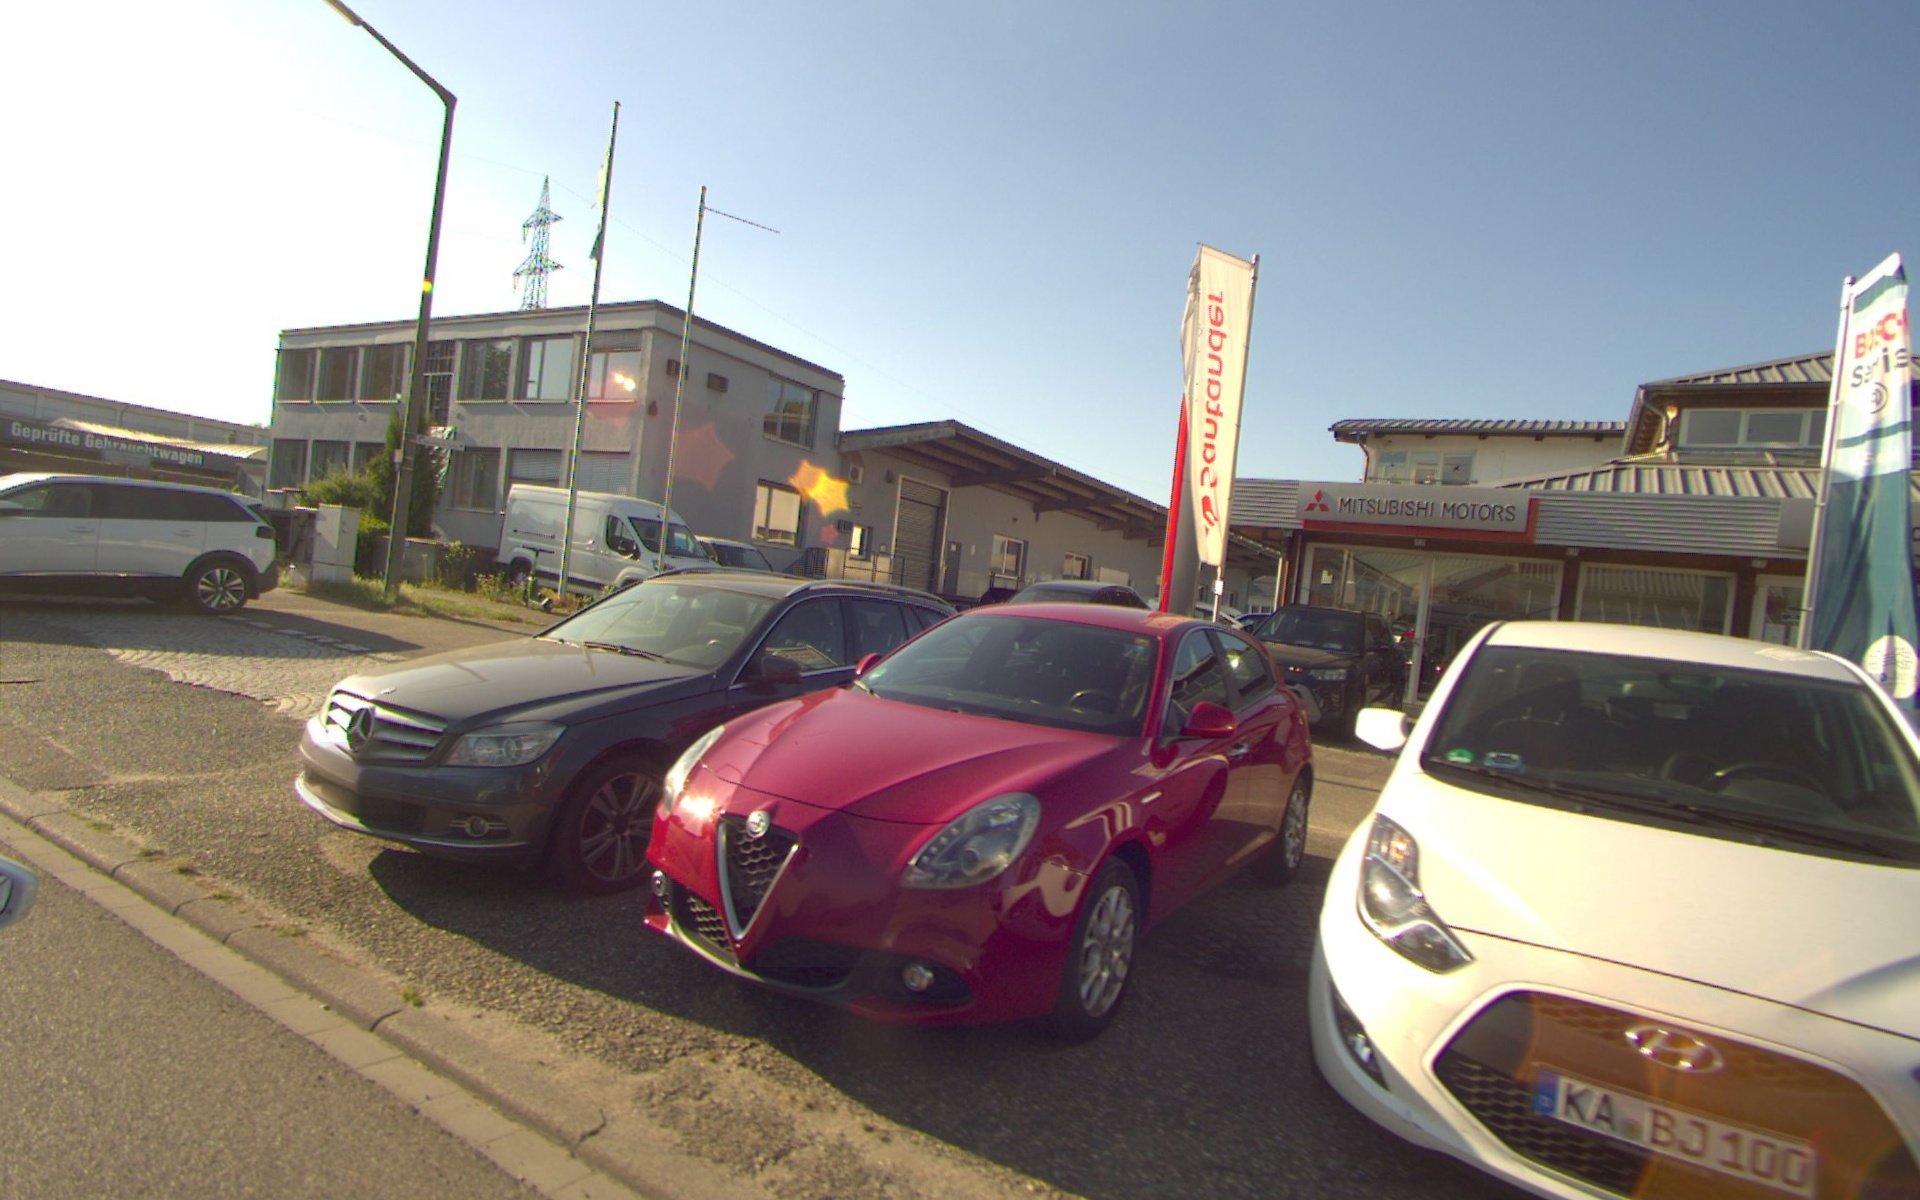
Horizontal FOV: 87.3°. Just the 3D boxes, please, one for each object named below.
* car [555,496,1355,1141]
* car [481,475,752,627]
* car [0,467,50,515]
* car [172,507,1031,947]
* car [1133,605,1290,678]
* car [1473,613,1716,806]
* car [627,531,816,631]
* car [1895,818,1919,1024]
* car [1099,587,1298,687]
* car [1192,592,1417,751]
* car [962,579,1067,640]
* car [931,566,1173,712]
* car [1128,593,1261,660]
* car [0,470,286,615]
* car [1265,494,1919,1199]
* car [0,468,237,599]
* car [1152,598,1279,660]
[{"bbox_3d":[0.497,0.698,4.881,1.717,1.624,4.247,7,-1,33],"label":"car"},{"bbox_3d":[-7.626,-1.129,22.045,6.035,2.657,1.996,7,0,32],"label":"car"},{"bbox_3d":[-42.575,-4.897,44.339,1.908,1.791,3.990,5,-1,-15],"label":"car"},{"bbox_3d":[-1.570,0.465,5.998,2.099,1.455,4.438,7,2,31],"label":"car"},{"bbox_3d":[6.878,1.130,27.855,3.803,1.485,2.001,7,-1,5],"label":"car"},{"bbox_3d":[7.559,1.148,12.142,1.967,1.719,3.987,7,2,32],"label":"car"},{"bbox_3d":[-5.650,-0.456,23.723,3.934,1.821,1.996,7,-1,32],"label":"car"},{"bbox_3d":[4.496,1.130,2.485,2.023,1.639,4.115,7,1,28],"label":"car"},{"bbox_3d":[5.068,0.794,21.851,3.803,1.601,2.001,7,0,5],"label":"car"},{"bbox_3d":[4.891,0.885,13.902,1.967,1.682,3.987,7,2,32],"label":"car"},{"bbox_3d":[2.003,0.370,35.899,1.967,1.704,3.993,7,-1,31],"label":"car"},{"bbox_3d":[1.571,0.560,15.620,1.967,1.795,4.144,7,2,32],"label":"car"},{"bbox_3d":[11.465,1.258,49.343,5.757,2.553,1.996,7,0,32],"label":"car"},{"bbox_3d":[-11.289,-0.737,12.301,2.164,1.620,4.556,6,3,29],"label":"car"},{"bbox_3d":[2.646,0.847,4.000,1.851,1.760,4.118,7,-1,28],"label":"car"},{"bbox_3d":[-13.093,-0.987,14.191,1.888,1.645,4.250,7,2,30],"label":"car"},{"bbox_3d":[13.077,1.445,51.600,5.757,2.435,1.996,7,0,32],"label":"car"}]
